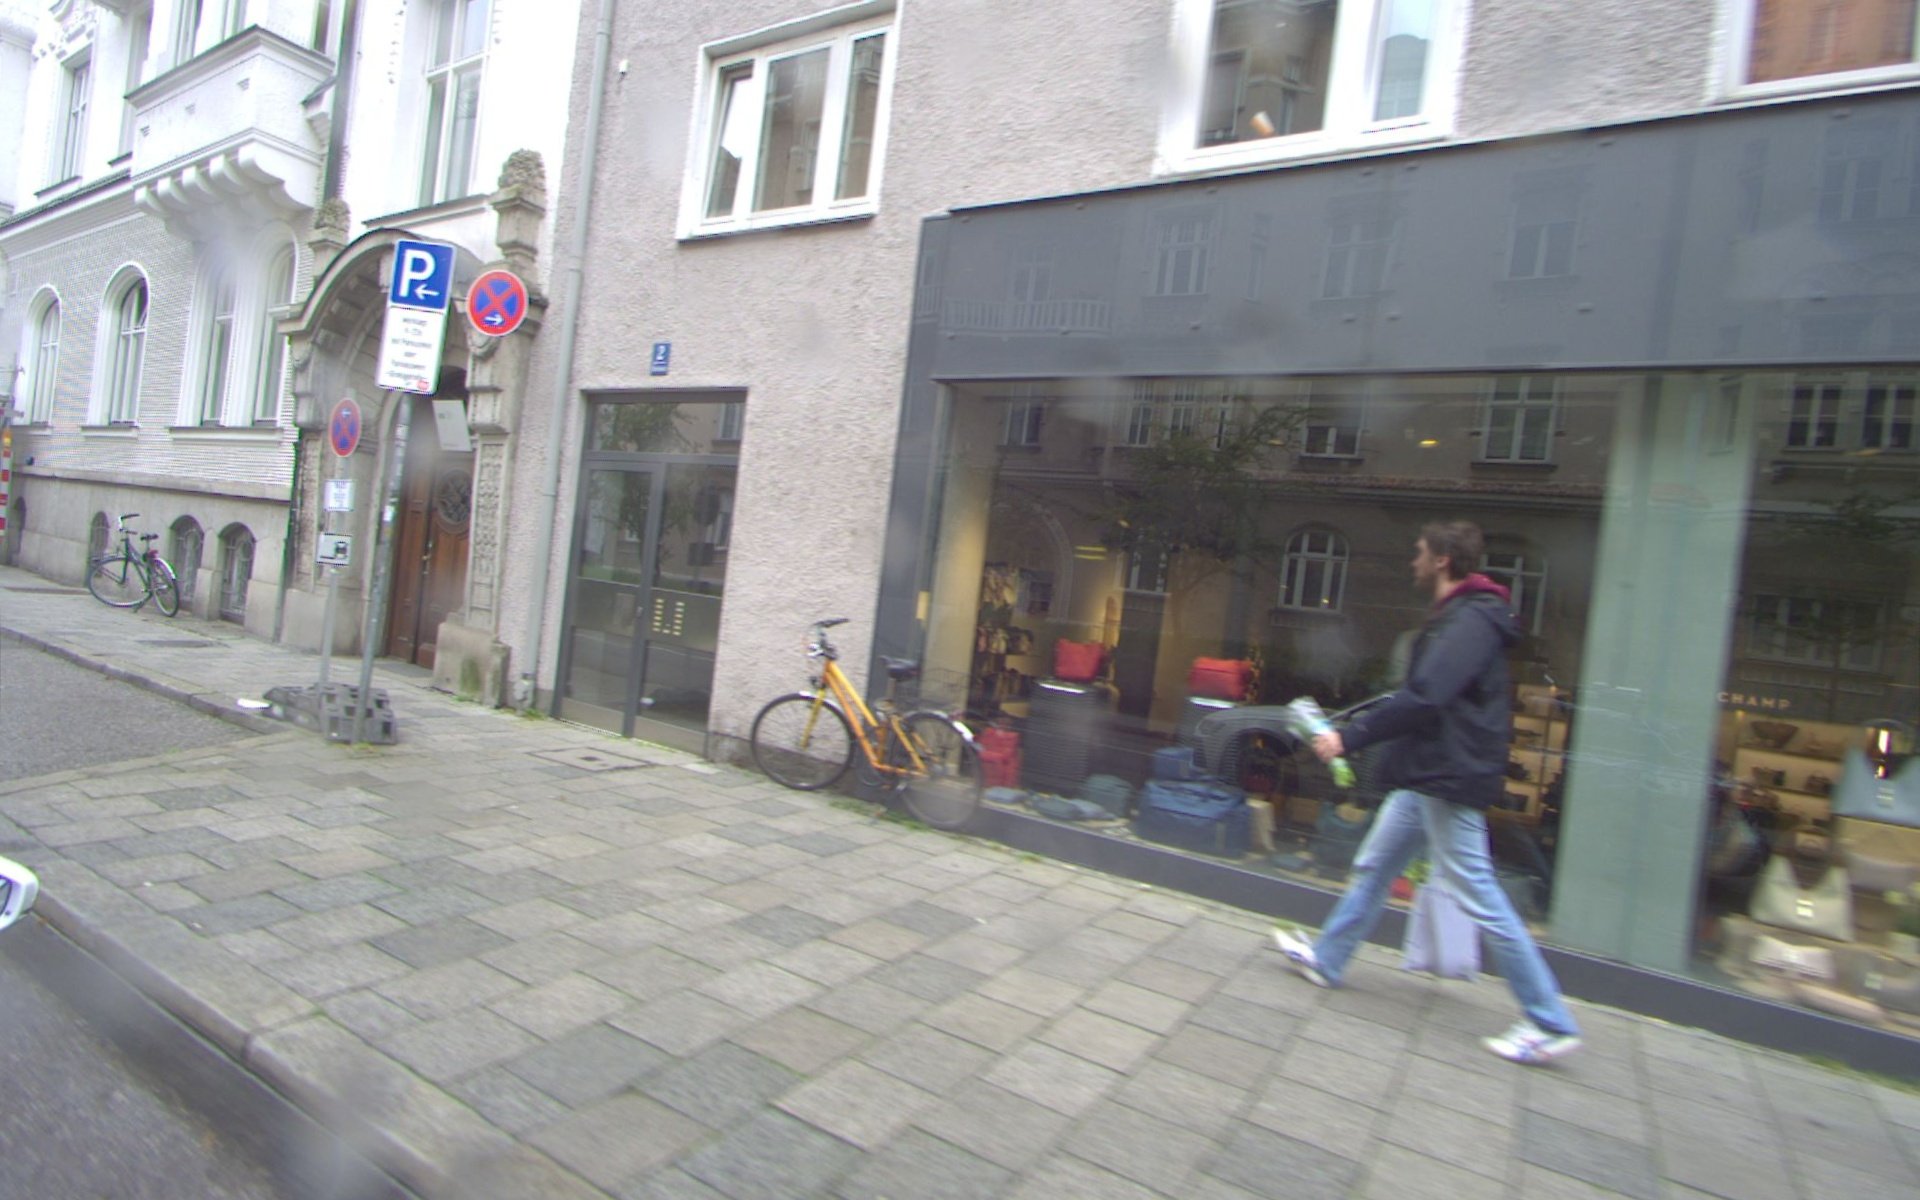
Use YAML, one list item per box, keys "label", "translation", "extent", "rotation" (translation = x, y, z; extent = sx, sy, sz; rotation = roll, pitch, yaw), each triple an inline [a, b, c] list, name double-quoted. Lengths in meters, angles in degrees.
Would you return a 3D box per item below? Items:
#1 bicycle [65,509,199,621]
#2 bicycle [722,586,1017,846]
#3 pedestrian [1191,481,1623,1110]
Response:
- label: "bicycle"
  translation: [-10.454, -0.458, 12.684]
  extent: [1.889, 1.223, 0.660]
  rotation: [7, 4, 29]
- label: "bicycle"
  translation: [-0.604, 0.633, 6.201]
  extent: [1.790, 1.278, 0.512]
  rotation: [7, 5, 32]
- label: "pedestrian"
  translation: [1.686, 0.597, 3.816]
  extent: [1.159, 1.936, 0.927]
  rotation: [7, 3, 32]
